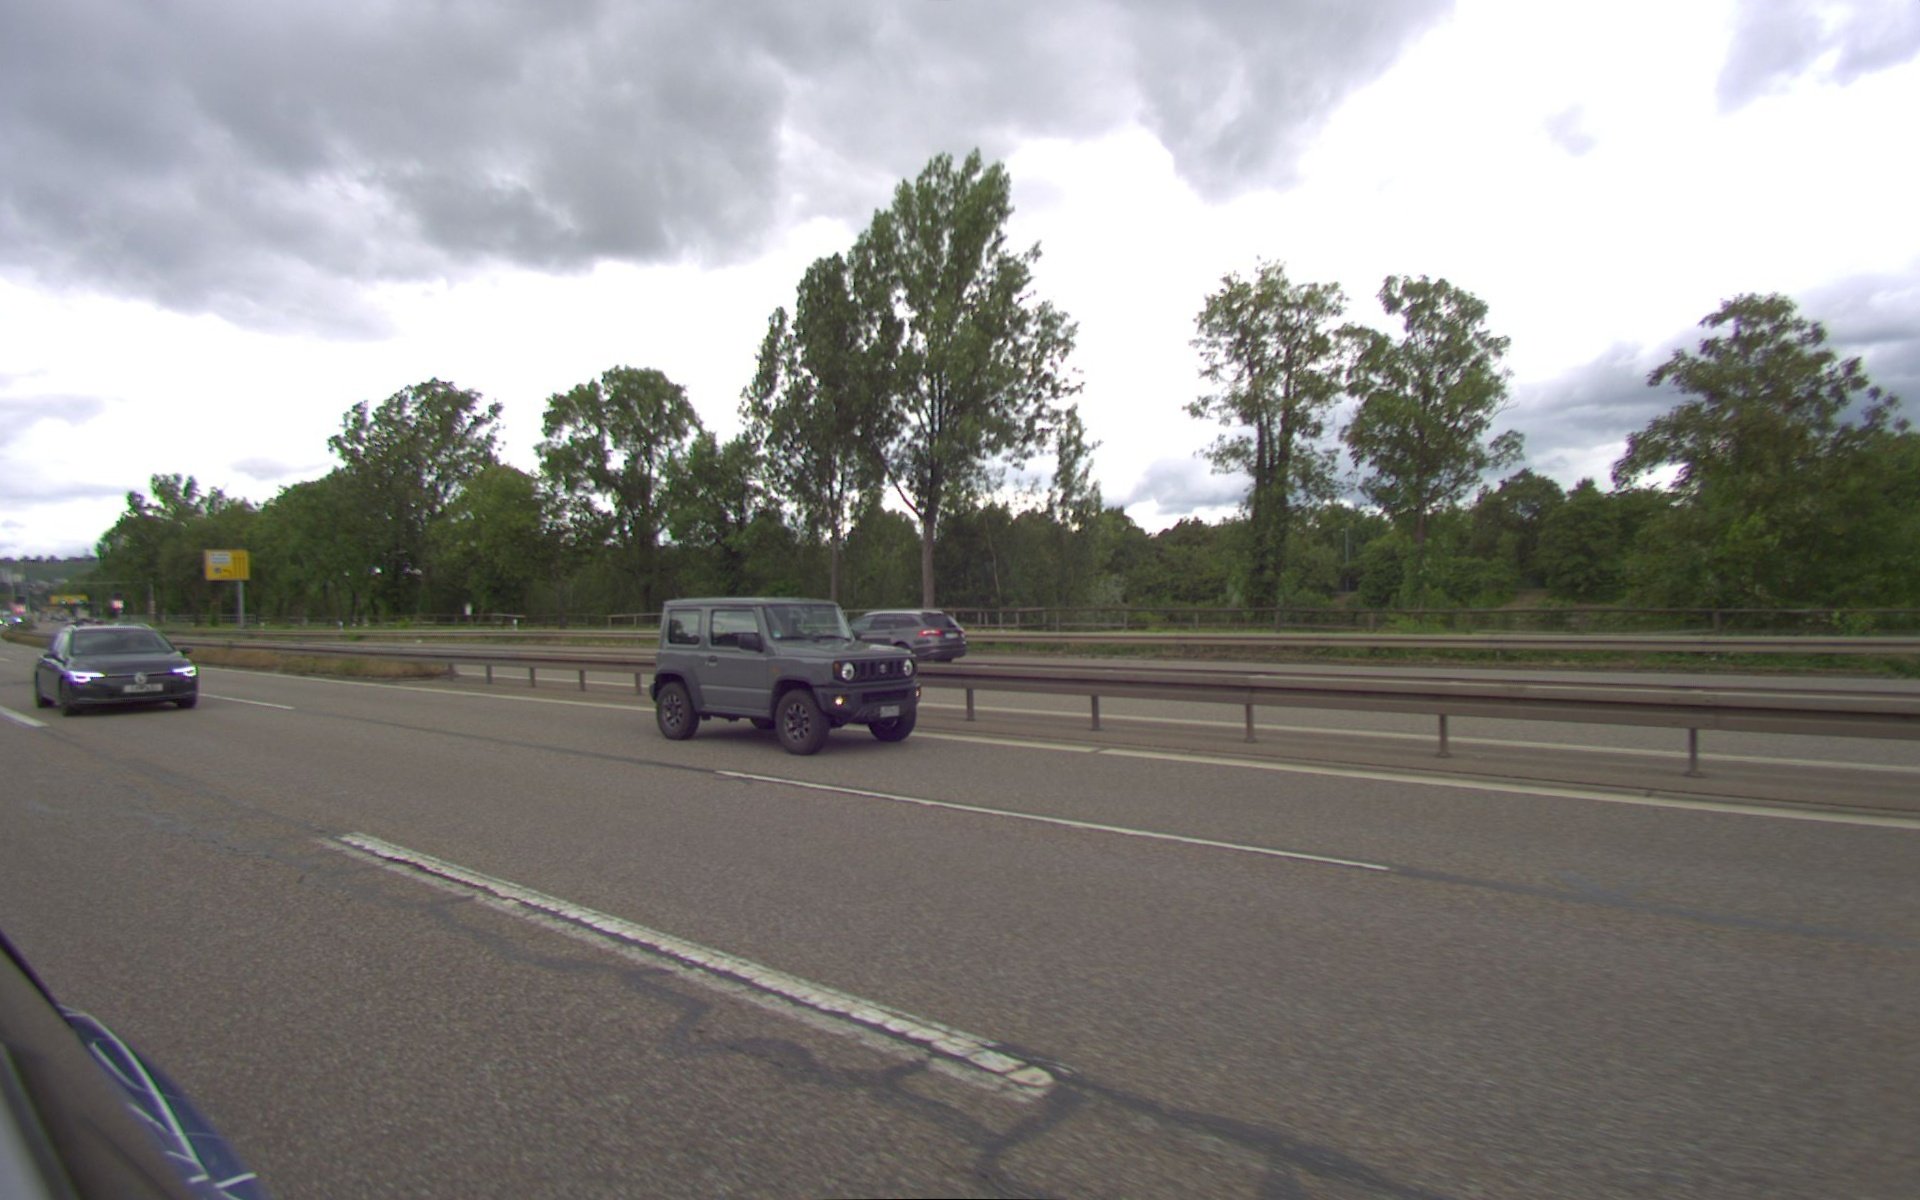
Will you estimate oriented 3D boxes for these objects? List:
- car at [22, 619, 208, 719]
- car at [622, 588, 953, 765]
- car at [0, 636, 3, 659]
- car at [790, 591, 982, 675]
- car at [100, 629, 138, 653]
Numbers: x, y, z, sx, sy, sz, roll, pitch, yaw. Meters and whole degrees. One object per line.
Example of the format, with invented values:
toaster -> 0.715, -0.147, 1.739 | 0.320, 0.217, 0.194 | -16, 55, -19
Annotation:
car -> -14.832, 1.132, 17.687 | 4.302, 1.512, 1.915 | -2, -2, 42
car -> -2.143, 0.797, 11.926 | 3.995, 1.749, 1.664 | -2, -1, 40
car -> -87.941, 4.308, 91.240 | 3.999, 2.029, 1.973 | -2, 0, 42
car -> -2.092, 0.894, 27.526 | 5.216, 2.029, 1.974 | -2, 0, 39
car -> -76.203, 3.716, 91.723 | 3.997, 2.029, 1.973 | -2, -1, 40
